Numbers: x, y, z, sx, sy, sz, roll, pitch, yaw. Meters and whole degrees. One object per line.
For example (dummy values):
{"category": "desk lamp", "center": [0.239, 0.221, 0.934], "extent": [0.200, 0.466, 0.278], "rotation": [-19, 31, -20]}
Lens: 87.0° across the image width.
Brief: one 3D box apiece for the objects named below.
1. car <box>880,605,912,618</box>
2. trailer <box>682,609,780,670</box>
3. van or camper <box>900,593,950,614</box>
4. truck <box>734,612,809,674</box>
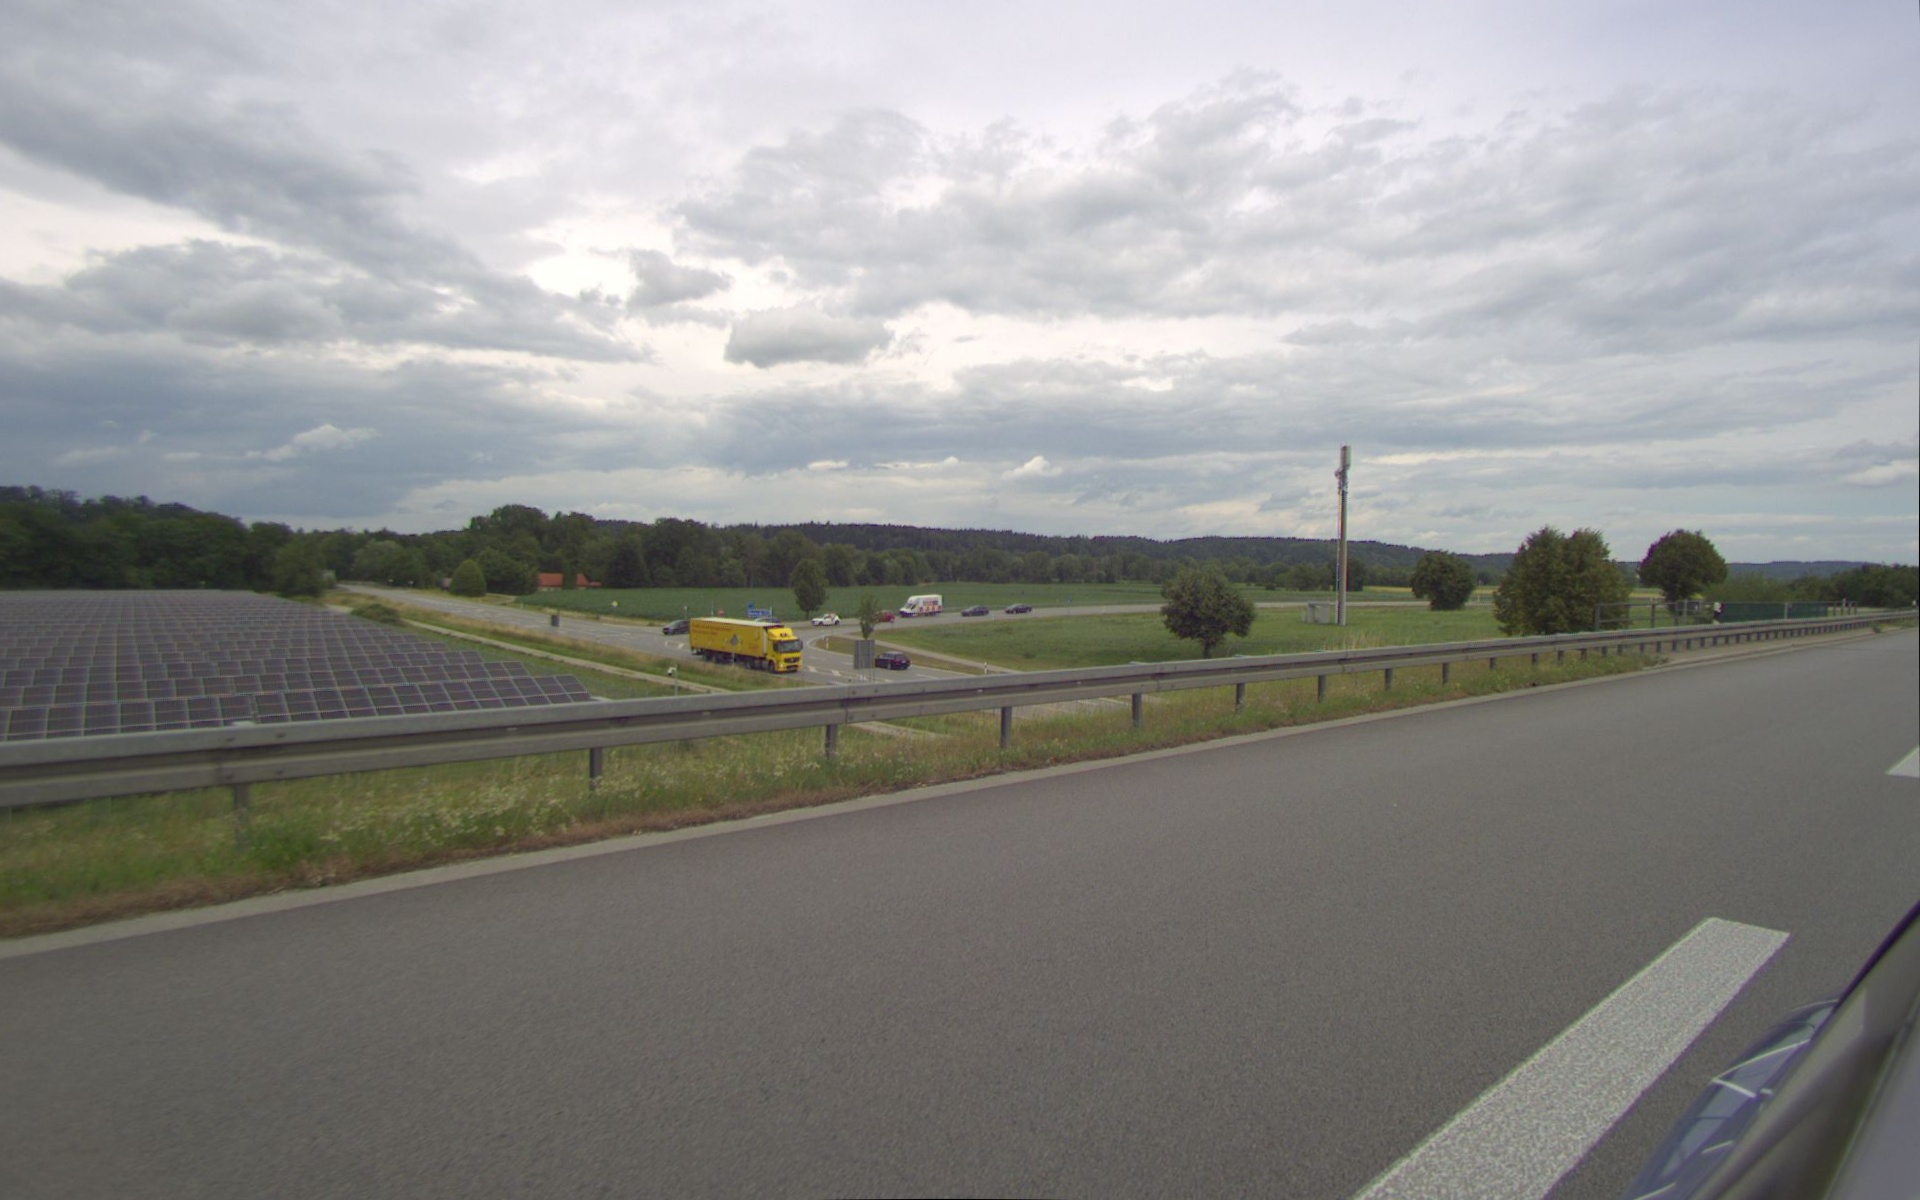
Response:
{"category": "car", "center": [-9.168, 1.635, 144.646], "extent": [4.152, 1.861, 1.832], "rotation": [0, 0, -20]}
{"category": "trailer", "center": [-21.235, 3.454, 93.117], "extent": [2.968, 4.847, 12.284], "rotation": [1, 1, -43]}
{"category": "van or camper", "center": [-5.371, 0.542, 153.402], "extent": [6.982, 2.946, 2.805], "rotation": [-1, -3, -28]}
{"category": "truck", "center": [-16.440, 3.616, 87.905], "extent": [2.969, 4.847, 7.125], "rotation": [1, 1, -43]}
